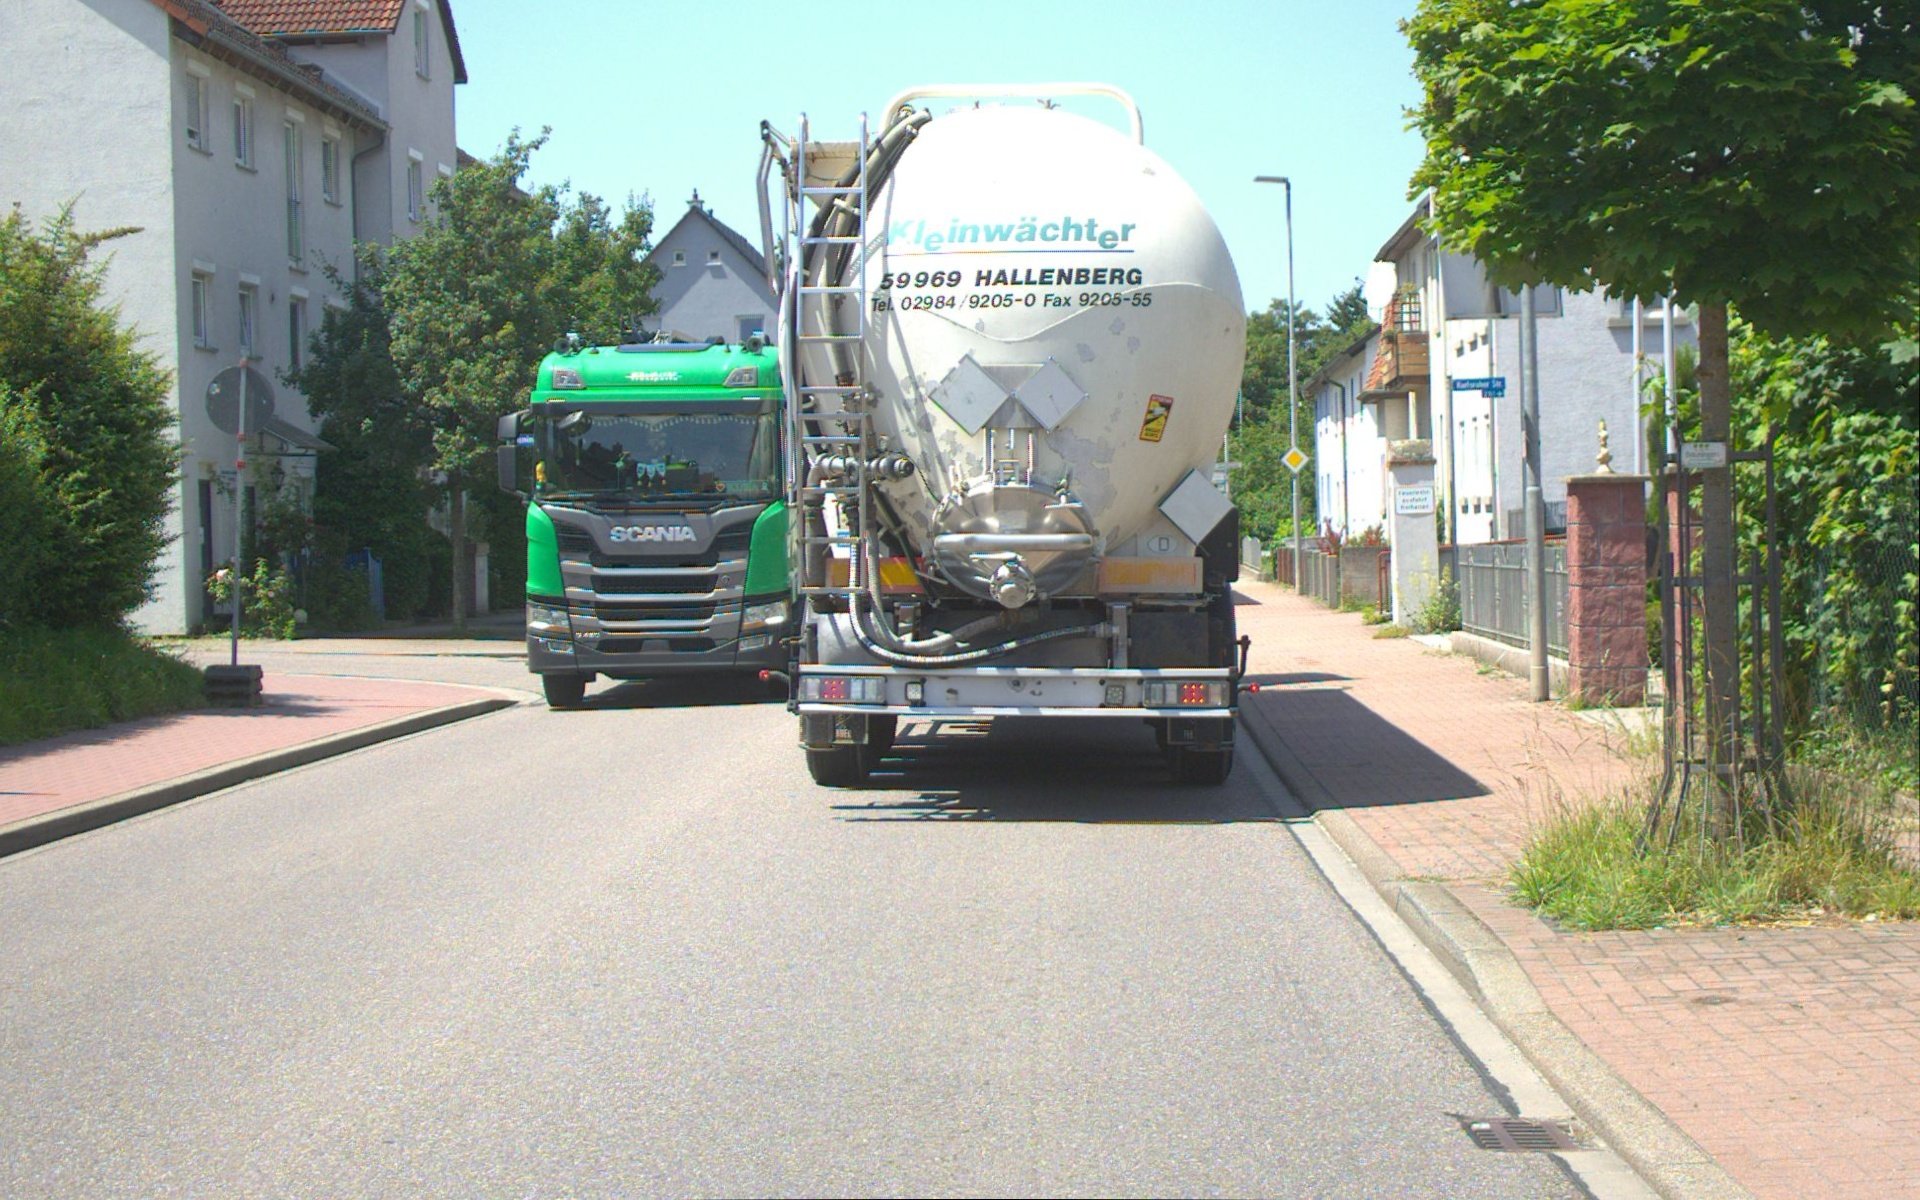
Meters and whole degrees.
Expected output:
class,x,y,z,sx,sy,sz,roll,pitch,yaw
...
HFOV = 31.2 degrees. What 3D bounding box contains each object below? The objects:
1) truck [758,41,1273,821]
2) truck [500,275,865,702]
class,x,y,z,sx,sy,sz,roll,pitch,yaw
truck,0.329,-0.971,22.455,2.641,4.002,9.562,0,1,1
truck,-2.596,-1.101,35.474,2.567,3.687,10.078,-2,1,1
